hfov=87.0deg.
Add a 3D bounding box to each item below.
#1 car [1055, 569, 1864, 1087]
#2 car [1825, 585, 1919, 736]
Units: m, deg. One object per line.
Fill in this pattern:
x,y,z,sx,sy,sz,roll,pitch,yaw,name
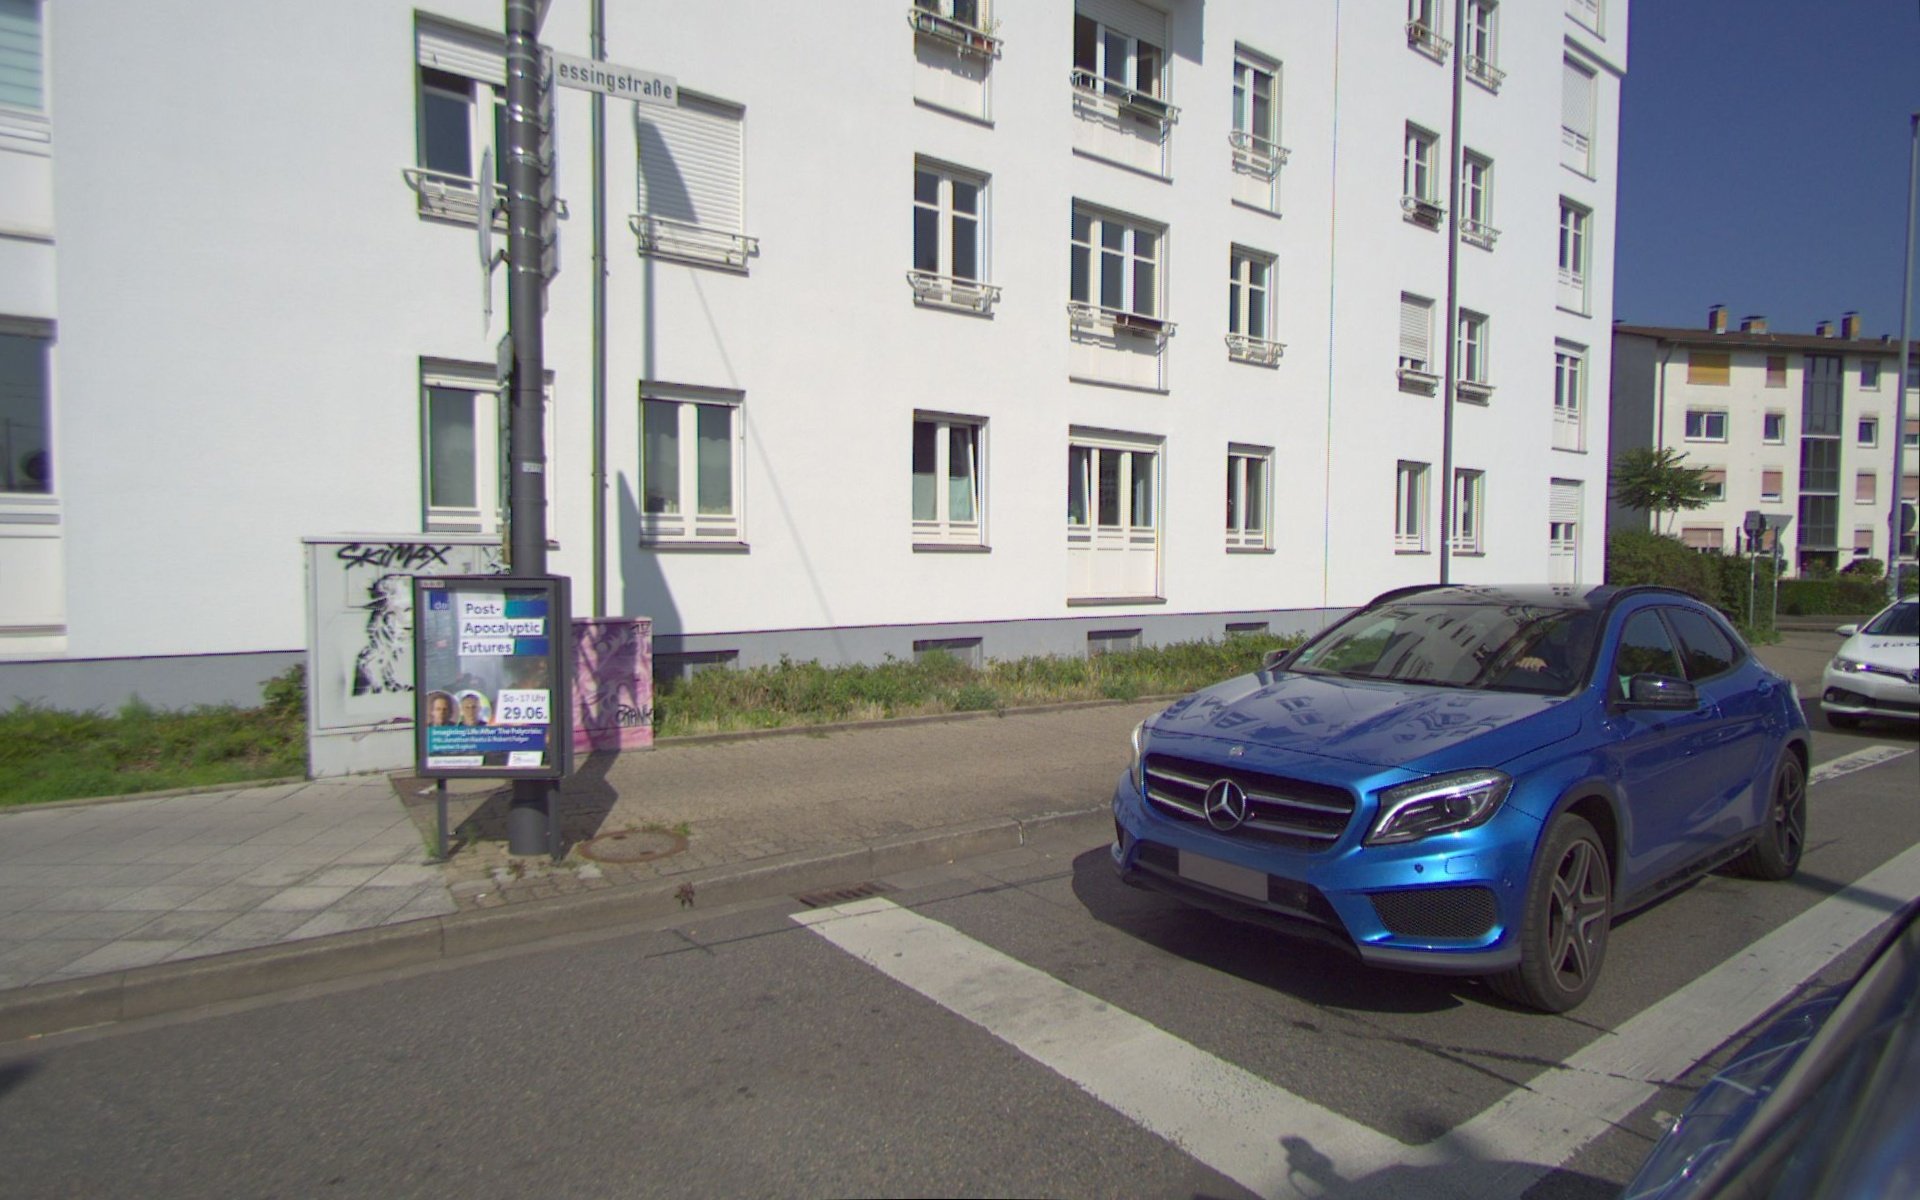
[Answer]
2.689,0.631,4.930,4.465,1.499,1.676,0,1,-36,car
11.120,0.564,10.990,4.403,1.429,1.702,-1,1,-37,car
